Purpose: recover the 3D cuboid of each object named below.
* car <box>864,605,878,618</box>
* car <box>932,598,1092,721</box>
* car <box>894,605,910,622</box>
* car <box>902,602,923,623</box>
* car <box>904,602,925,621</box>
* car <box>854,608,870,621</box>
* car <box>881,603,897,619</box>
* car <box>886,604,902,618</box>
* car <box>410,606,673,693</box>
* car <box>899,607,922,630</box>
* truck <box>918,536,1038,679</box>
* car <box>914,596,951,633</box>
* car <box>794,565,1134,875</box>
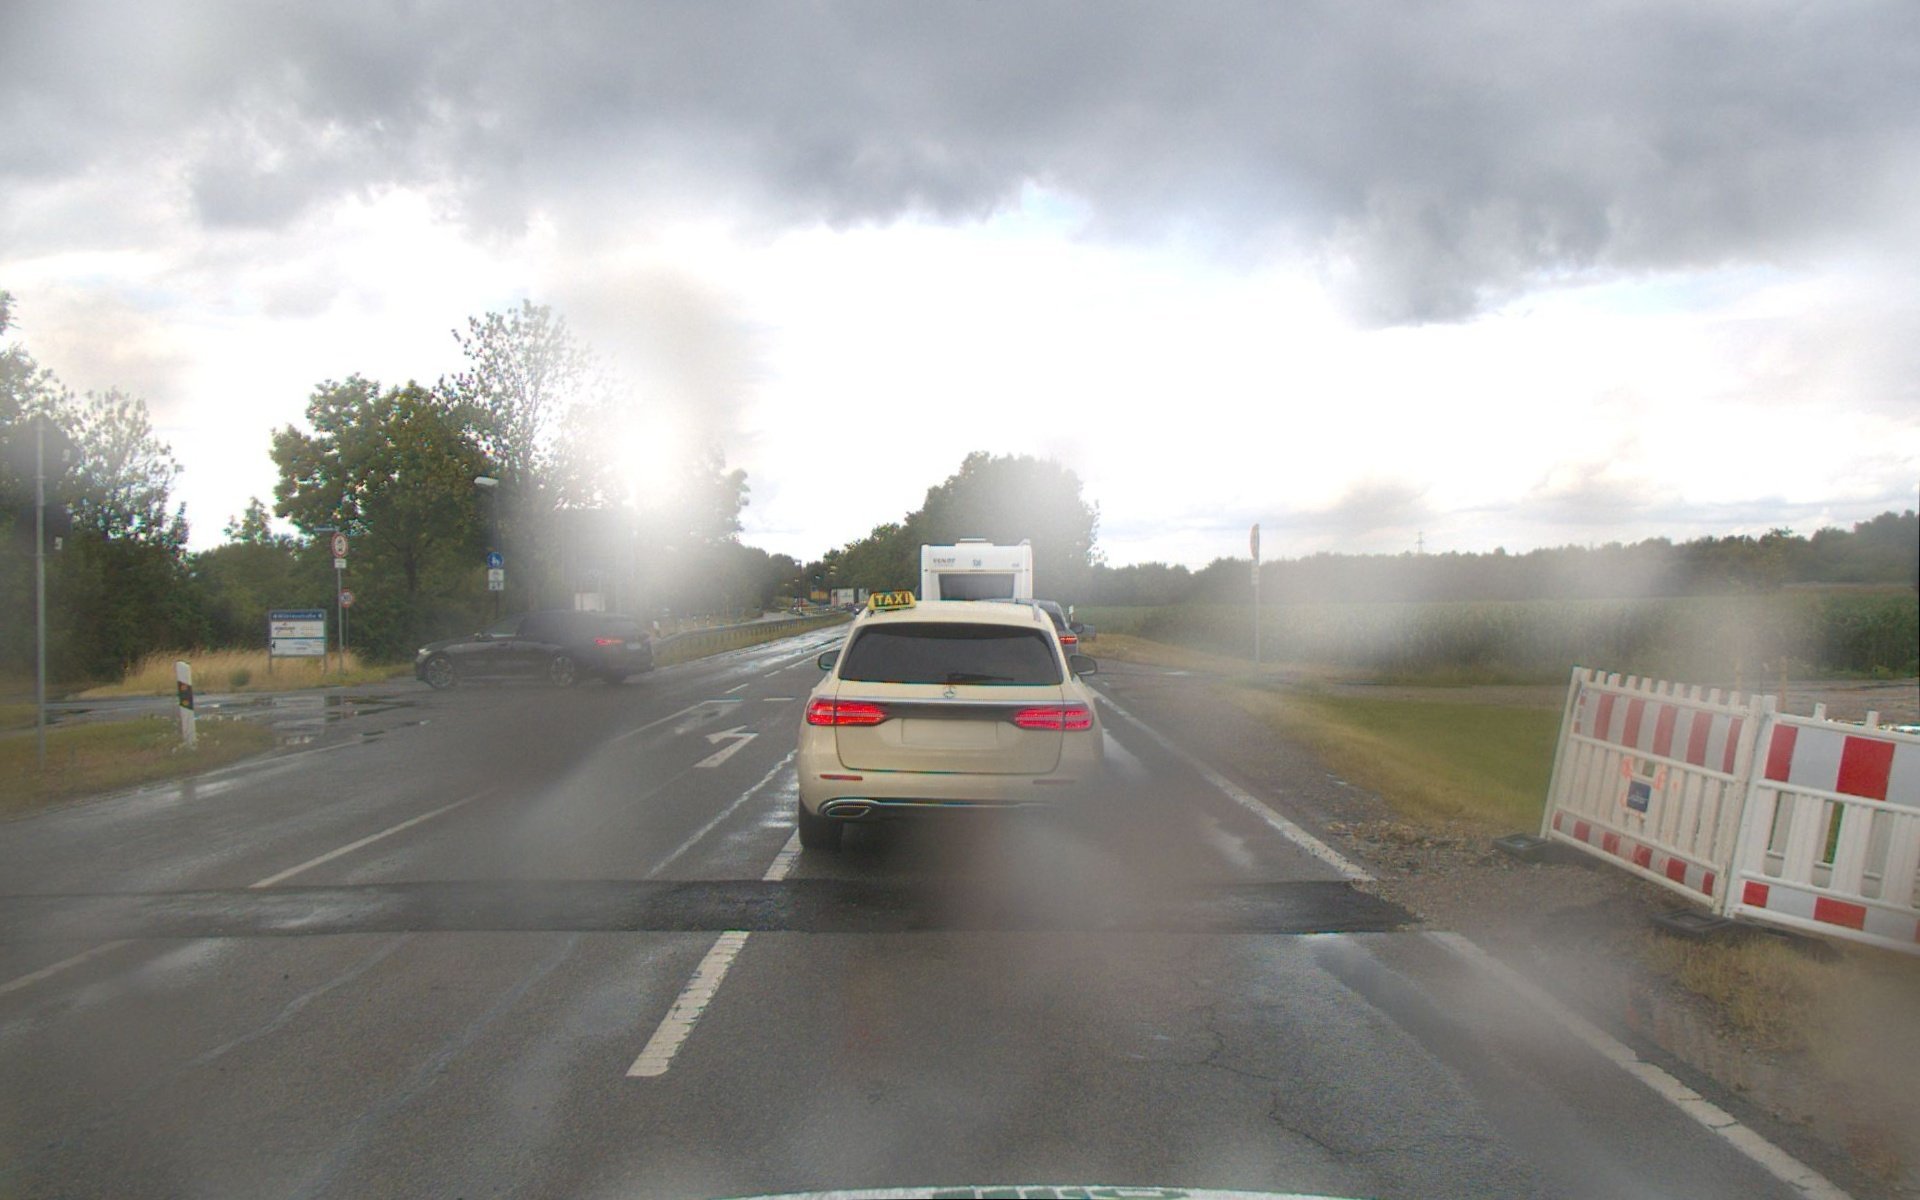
[{"bbox_3d":[-12.982,1.658,242.440,1.857,1.872,3.881,-1,0,-1],"label":"car"},{"bbox_3d":[0.618,0.752,22.534,1.953,1.488,3.999,1,0,-1],"label":"car"},{"bbox_3d":[-6.602,1.529,187.506,1.705,1.892,3.784,-1,0,-1],"label":"car"},{"bbox_3d":[-4.290,1.122,149.074,1.841,1.792,3.833,-1,0,-1],"label":"car"},{"bbox_3d":[-4.422,1.100,161.568,1.954,1.803,3.998,-1,0,-3],"label":"car"},{"bbox_3d":[-12.748,1.834,214.745,1.791,1.601,3.999,1,0,0],"label":"car"},{"bbox_3d":[-9.166,1.414,212.870,1.858,1.928,3.840,-1,0,-4],"label":"car"},{"bbox_3d":[-8.020,1.340,201.727,1.715,1.691,3.668,-1,0,-6],"label":"car"},{"bbox_3d":[-8.309,0.951,32.965,4.520,1.574,2.310,1,-1,19],"label":"car"},{"bbox_3d":[-3.926,1.444,132.581,1.755,1.808,3.720,-1,0,-1],"label":"car"},{"bbox_3d":[0.305,0.152,36.348,2.315,2.776,7.312,-1,0,-1],"label":"truck"},{"bbox_3d":[-1.436,0.740,87.737,1.876,1.873,3.795,-1,0,-1],"label":"car"},{"bbox_3d":[-0.006,0.650,10.831,1.805,1.646,3.999,0,0,-1],"label":"car"}]
